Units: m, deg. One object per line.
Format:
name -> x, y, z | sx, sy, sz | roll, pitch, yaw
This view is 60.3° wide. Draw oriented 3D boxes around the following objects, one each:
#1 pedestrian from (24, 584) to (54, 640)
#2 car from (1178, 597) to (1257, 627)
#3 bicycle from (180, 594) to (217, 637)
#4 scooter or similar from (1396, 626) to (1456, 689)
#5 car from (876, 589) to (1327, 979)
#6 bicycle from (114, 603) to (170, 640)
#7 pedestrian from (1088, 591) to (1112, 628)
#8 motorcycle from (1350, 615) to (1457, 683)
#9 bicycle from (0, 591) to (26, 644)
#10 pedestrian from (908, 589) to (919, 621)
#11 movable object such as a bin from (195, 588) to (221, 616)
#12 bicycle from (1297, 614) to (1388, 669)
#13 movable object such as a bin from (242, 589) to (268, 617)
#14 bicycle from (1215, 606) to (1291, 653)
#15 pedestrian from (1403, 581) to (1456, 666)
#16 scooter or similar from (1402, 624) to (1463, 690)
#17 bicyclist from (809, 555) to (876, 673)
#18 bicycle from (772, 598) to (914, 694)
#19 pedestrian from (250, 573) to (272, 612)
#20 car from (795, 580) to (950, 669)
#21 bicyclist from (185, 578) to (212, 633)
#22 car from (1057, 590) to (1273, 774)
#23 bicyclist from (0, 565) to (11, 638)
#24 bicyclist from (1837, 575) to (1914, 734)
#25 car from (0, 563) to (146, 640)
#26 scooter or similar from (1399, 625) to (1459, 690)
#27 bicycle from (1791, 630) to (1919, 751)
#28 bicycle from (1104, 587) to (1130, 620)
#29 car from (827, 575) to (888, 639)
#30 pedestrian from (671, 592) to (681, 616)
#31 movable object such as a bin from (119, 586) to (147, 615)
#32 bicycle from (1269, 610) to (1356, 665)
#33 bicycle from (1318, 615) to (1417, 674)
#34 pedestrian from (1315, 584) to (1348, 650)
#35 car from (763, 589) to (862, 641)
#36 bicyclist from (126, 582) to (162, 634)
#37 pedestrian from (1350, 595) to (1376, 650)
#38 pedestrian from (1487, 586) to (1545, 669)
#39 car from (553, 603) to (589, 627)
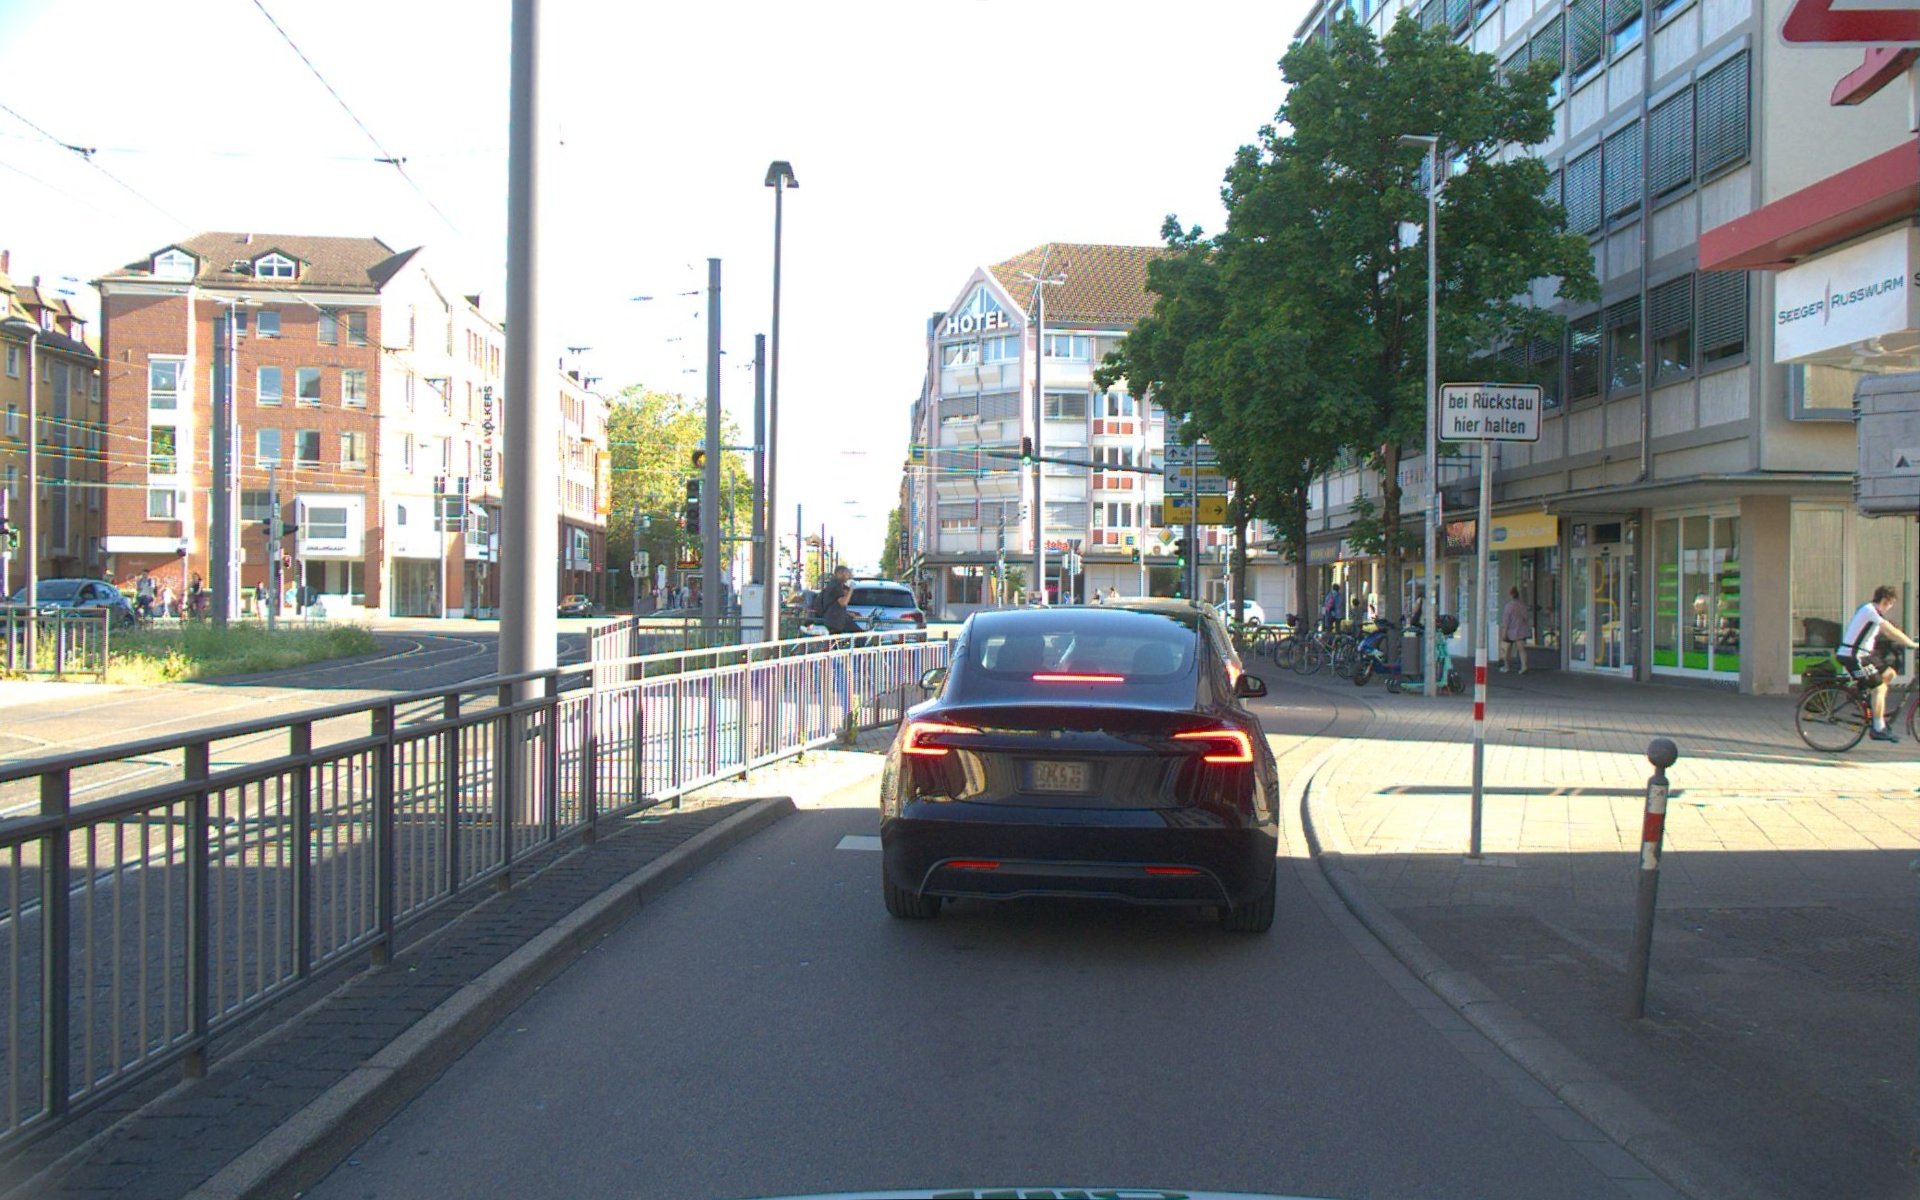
pedestrian -> -29.120, 0.380, 52.298 | 0.613, 1.717, 0.703 | 1, 1, -13
car -> 13.472, 0.631, 86.639 | 3.766, 1.457, 1.801 | 1, -2, -6
bicycle -> -23.616, 0.475, 51.326 | 0.563, 1.313, 2.021 | 1, 0, -12
scooter or similar -> 7.719, 0.949, 27.408 | 0.943, 1.045, 0.160 | 0, 0, 2
car -> 0.650, 0.712, 8.503 | 1.753, 1.476, 3.941 | 1, 1, 3
bicycle -> -23.785, 0.622, 48.139 | 0.636, 1.031, 1.885 | 1, 0, 1
pedestrian -> 6.284, 0.420, 74.159 | 0.766, 1.604, 0.864 | 1, 1, -16
motorcycle -> 7.849, 0.864, 29.300 | 1.751, 1.149, 0.504 | 1, -1, -3
bicycle -> -22.617, 0.394, 38.586 | 0.519, 1.235, 1.885 | 1, 0, 1
pedestrian -> -2.652, 0.263, 94.816 | 0.614, 1.813, 0.917 | 1, -1, -2
movable object such as a bin -> -39.275, 0.096, 86.392 | 0.978, 1.462, 1.093 | 1, 0, -10
bicycle -> 7.728, 0.830, 33.444 | 1.730, 1.075, 0.458 | 1, -1, 4
movable object such as a bin -> -36.968, 0.142, 86.727 | 0.978, 1.462, 1.093 | 1, 0, -10
bicycle -> 7.513, 0.750, 42.476 | 1.851, 1.177, 0.480 | -1, -1, 0
pedestrian -> 9.729, 0.478, 34.319 | 0.826, 1.737, 0.880 | 1, -1, -1
scooter or similar -> 7.709, 0.925, 27.010 | 0.943, 1.061, 0.160 | 0, 0, 2
bicyclist -> -1.574, 0.191, 22.170 | 0.674, 1.550, 0.628 | 1, -1, -32
bicycle -> -1.562, 0.611, 22.174 | 1.802, 1.233, 0.635 | 1, -1, -32
pedestrian -> -32.412, -0.344, 76.701 | 0.682, 1.740, 0.929 | 1, -1, -7
car -> -1.782, 0.464, 32.703 | 1.818, 1.663, 3.455 | 1, 0, -27
bicyclist -> -23.528, 0.171, 51.100 | 0.578, 1.678, 0.804 | 1, -1, -13
car -> 1.827, 0.654, 15.759 | 1.727, 1.469, 4.531 | 1, 0, 4
bicyclist -> -22.619, 0.028, 38.568 | 0.510, 1.702, 0.770 | 1, -1, 0
bicyclist -> 9.816, 0.571, 17.730 | 0.669, 1.659, 0.576 | 1, -1, 34
car -> -19.865, 0.027, 36.645 | 1.650, 1.588, 4.121 | 1, 0, -1
scooter or similar -> 7.714, 0.938, 27.208 | 0.936, 1.057, 0.160 | 0, 0, 2
bicycle -> 9.906, 0.957, 17.650 | 1.788, 1.233, 0.580 | 1, -1, 34
bicycle -> 7.066, 0.161, 74.440 | 0.573, 1.489, 1.679 | 0, 0, -16
car -> -2.750, 0.184, 44.790 | 1.541, 1.646, 3.781 | 1, 0, -3
pedestrian -> -18.700, 0.291, 108.888 | 0.574, 1.557, 0.634 | 1, -1, -18
movable object such as a bin -> -42.912, 0.034, 85.860 | 0.978, 1.462, 1.093 | 1, 0, -10
bicycle -> 7.553, 0.791, 35.477 | 1.774, 1.172, 0.435 | 0, 0, -5
bicycle -> 7.742, 0.840, 31.419 | 1.817, 1.074, 0.398 | -1, 0, -12
pedestrian -> 10.005, 0.454, 44.571 | 0.825, 1.751, 0.880 | 1, -1, 12
car -> -4.747, 0.464, 52.847 | 1.710, 1.578, 3.432 | 1, 0, -35
bicyclist -> -23.779, 0.226, 48.183 | 0.650, 1.479, 0.730 | 1, -1, 0
pedestrian -> 10.754, 0.596, 44.131 | 0.631, 1.447, 0.621 | 1, -1, 10
pedestrian -> 11.045, 0.540, 32.857 | 0.826, 1.630, 0.880 | 1, -1, -1
car -> -24.700, 0.921, 105.110 | 1.782, 1.479, 3.972 | -1, 0, -6
